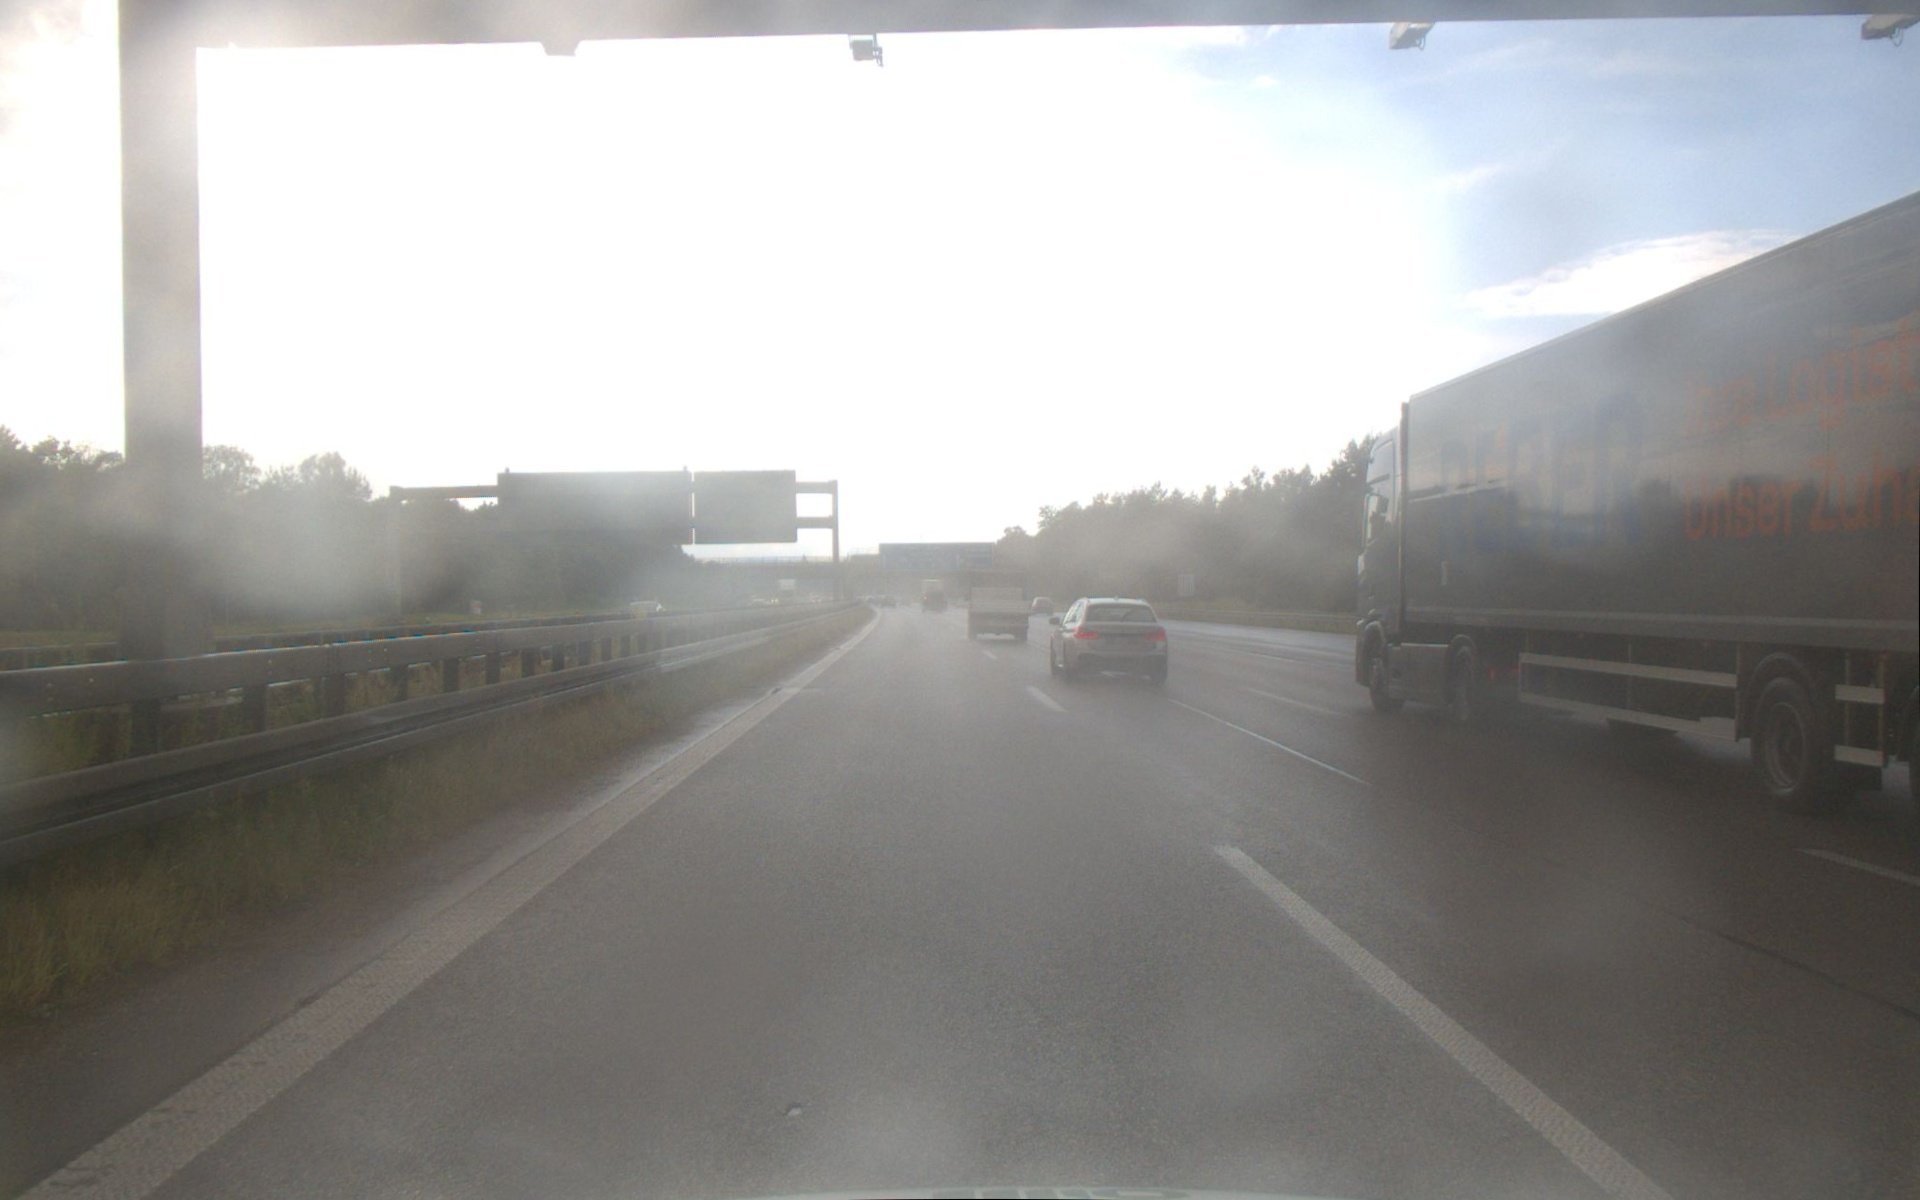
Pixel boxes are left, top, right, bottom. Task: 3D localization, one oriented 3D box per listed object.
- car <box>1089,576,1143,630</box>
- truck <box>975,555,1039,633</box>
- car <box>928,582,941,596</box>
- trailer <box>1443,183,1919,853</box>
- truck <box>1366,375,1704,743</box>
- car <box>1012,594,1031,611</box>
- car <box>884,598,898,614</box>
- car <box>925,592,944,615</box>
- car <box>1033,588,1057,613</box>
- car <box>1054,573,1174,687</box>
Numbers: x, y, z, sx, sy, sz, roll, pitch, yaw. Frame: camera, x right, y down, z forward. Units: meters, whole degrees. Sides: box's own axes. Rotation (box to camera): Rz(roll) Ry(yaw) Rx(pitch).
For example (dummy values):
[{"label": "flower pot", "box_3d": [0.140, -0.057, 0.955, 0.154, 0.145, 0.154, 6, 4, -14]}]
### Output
[{"label": "car", "box_3d": [6.088, 0.105, 64.932, 1.868, 2.049, 4.001, 1, 0, 2]}, {"label": "truck", "box_3d": [1.620, -0.223, 56.839, 2.093, 2.532, 5.314, 0, 0, 2]}, {"label": "car", "box_3d": [-3.923, -1.716, 252.429, 1.953, 2.049, 3.999, 2, 0, -1]}, {"label": "trailer", "box_3d": [6.943, -0.505, 12.940, 2.276, 4.071, 13.410, 0, 0, -1]}, {"label": "truck", "box_3d": [6.836, -0.444, 20.440, 2.247, 3.935, 5.391, 0, 0, -1]}, {"label": "car", "box_3d": [6.180, 0.239, 166.294, 1.705, 1.718, 3.999, 0, 0, -1]}, {"label": "car", "box_3d": [-8.816, 0.764, 211.015, 1.584, 2.049, 3.999, 1, 0, -1]}, {"label": "car", "box_3d": [-2.360, 0.306, 151.106, 1.640, 2.049, 3.999, 1, 0, -1]}, {"label": "car", "box_3d": [7.061, 0.048, 137.876, 1.952, 2.049, 4.001, 2, 0, 3]}, {"label": "car", "box_3d": [2.778, 0.487, 30.689, 2.034, 1.918, 5.013, 0, 1, 3]}]
